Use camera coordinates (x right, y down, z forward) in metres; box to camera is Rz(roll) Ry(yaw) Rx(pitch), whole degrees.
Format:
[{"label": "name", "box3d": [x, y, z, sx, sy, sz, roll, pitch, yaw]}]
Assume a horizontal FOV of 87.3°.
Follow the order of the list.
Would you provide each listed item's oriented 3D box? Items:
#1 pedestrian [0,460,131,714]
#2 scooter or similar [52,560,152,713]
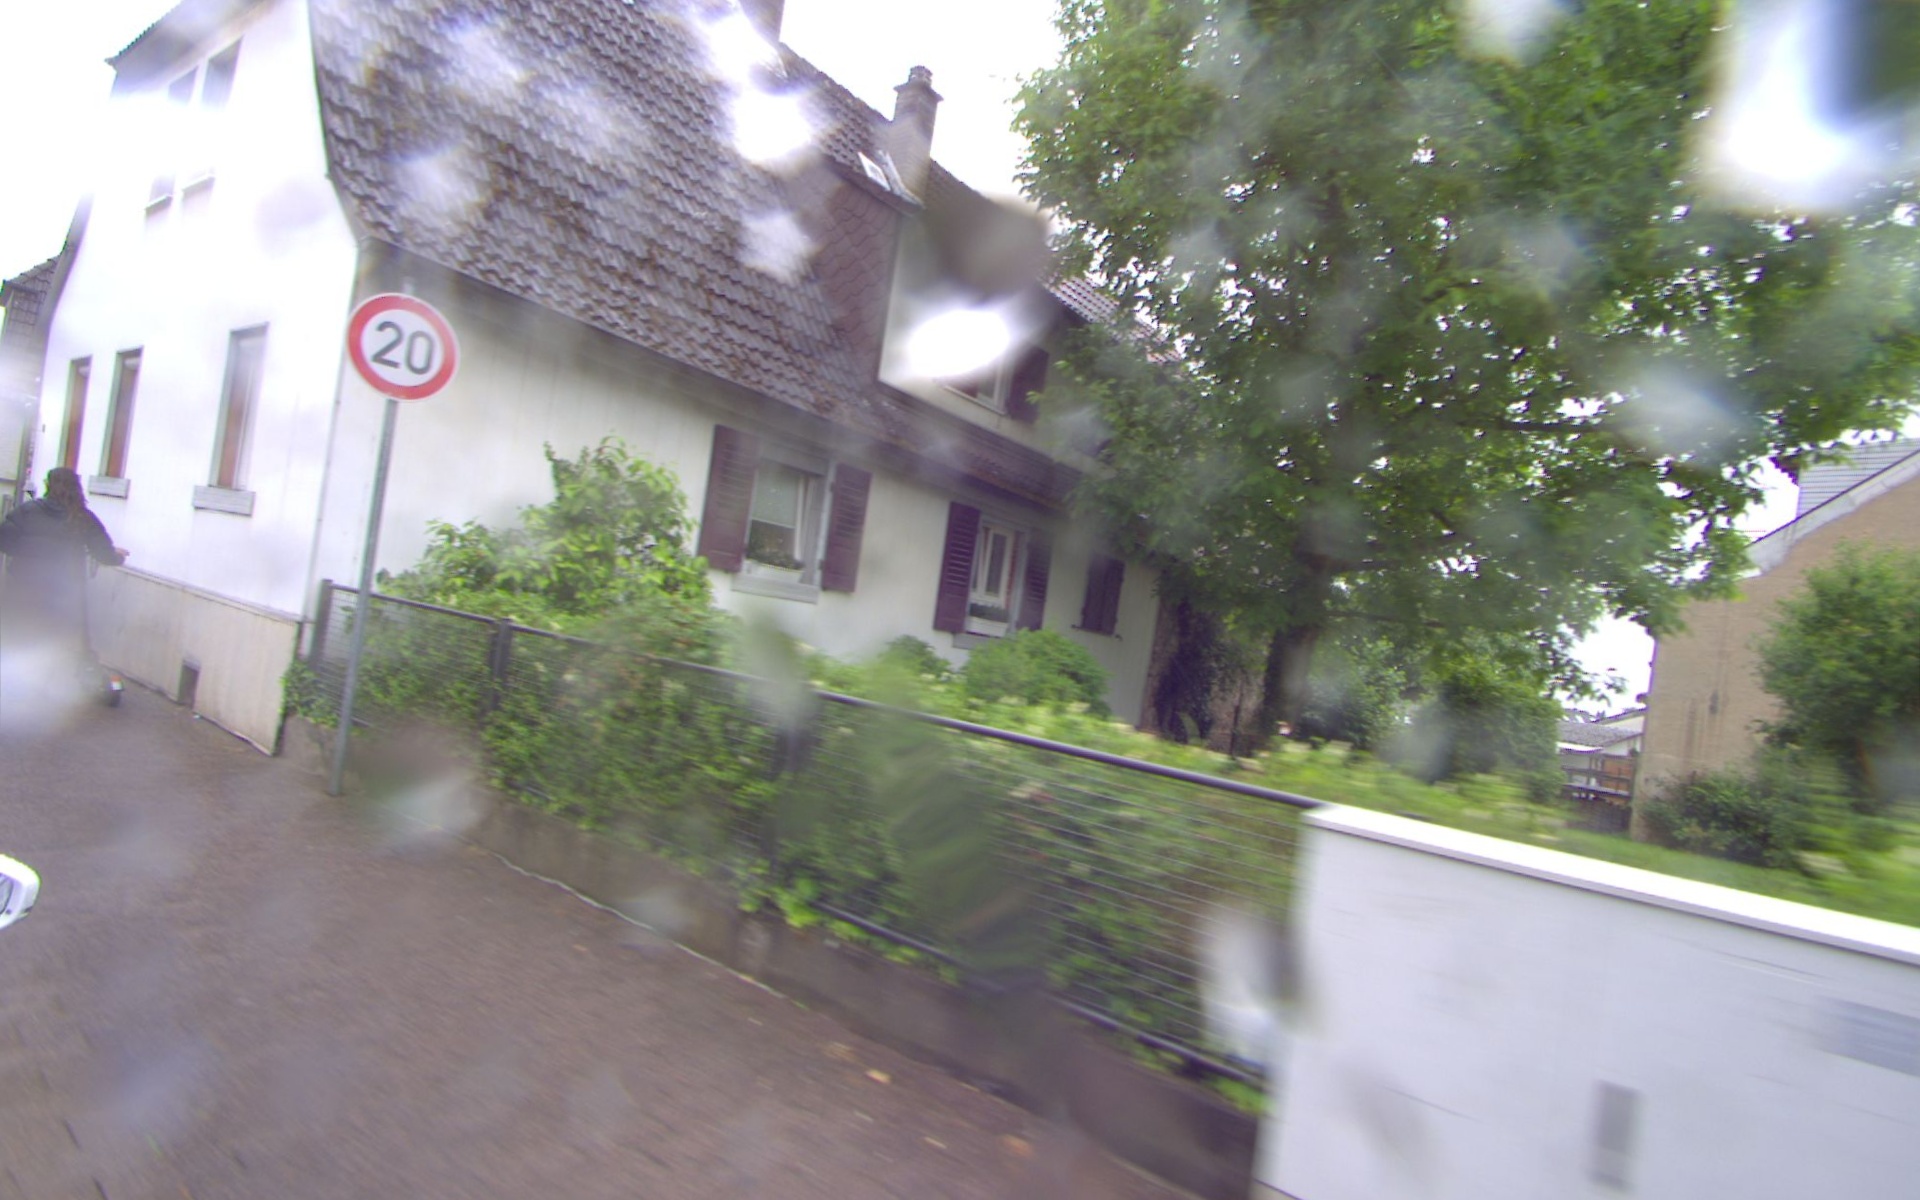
[{"label": "pedestrian", "box3d": [-6.952, -0.104, 7.580, 0.809, 1.751, 0.695, 8, -2, 38]}, {"label": "scooter or similar", "box3d": [-6.699, 0.264, 7.839, 1.084, 1.039, 0.245, 8, -2, 38]}]
